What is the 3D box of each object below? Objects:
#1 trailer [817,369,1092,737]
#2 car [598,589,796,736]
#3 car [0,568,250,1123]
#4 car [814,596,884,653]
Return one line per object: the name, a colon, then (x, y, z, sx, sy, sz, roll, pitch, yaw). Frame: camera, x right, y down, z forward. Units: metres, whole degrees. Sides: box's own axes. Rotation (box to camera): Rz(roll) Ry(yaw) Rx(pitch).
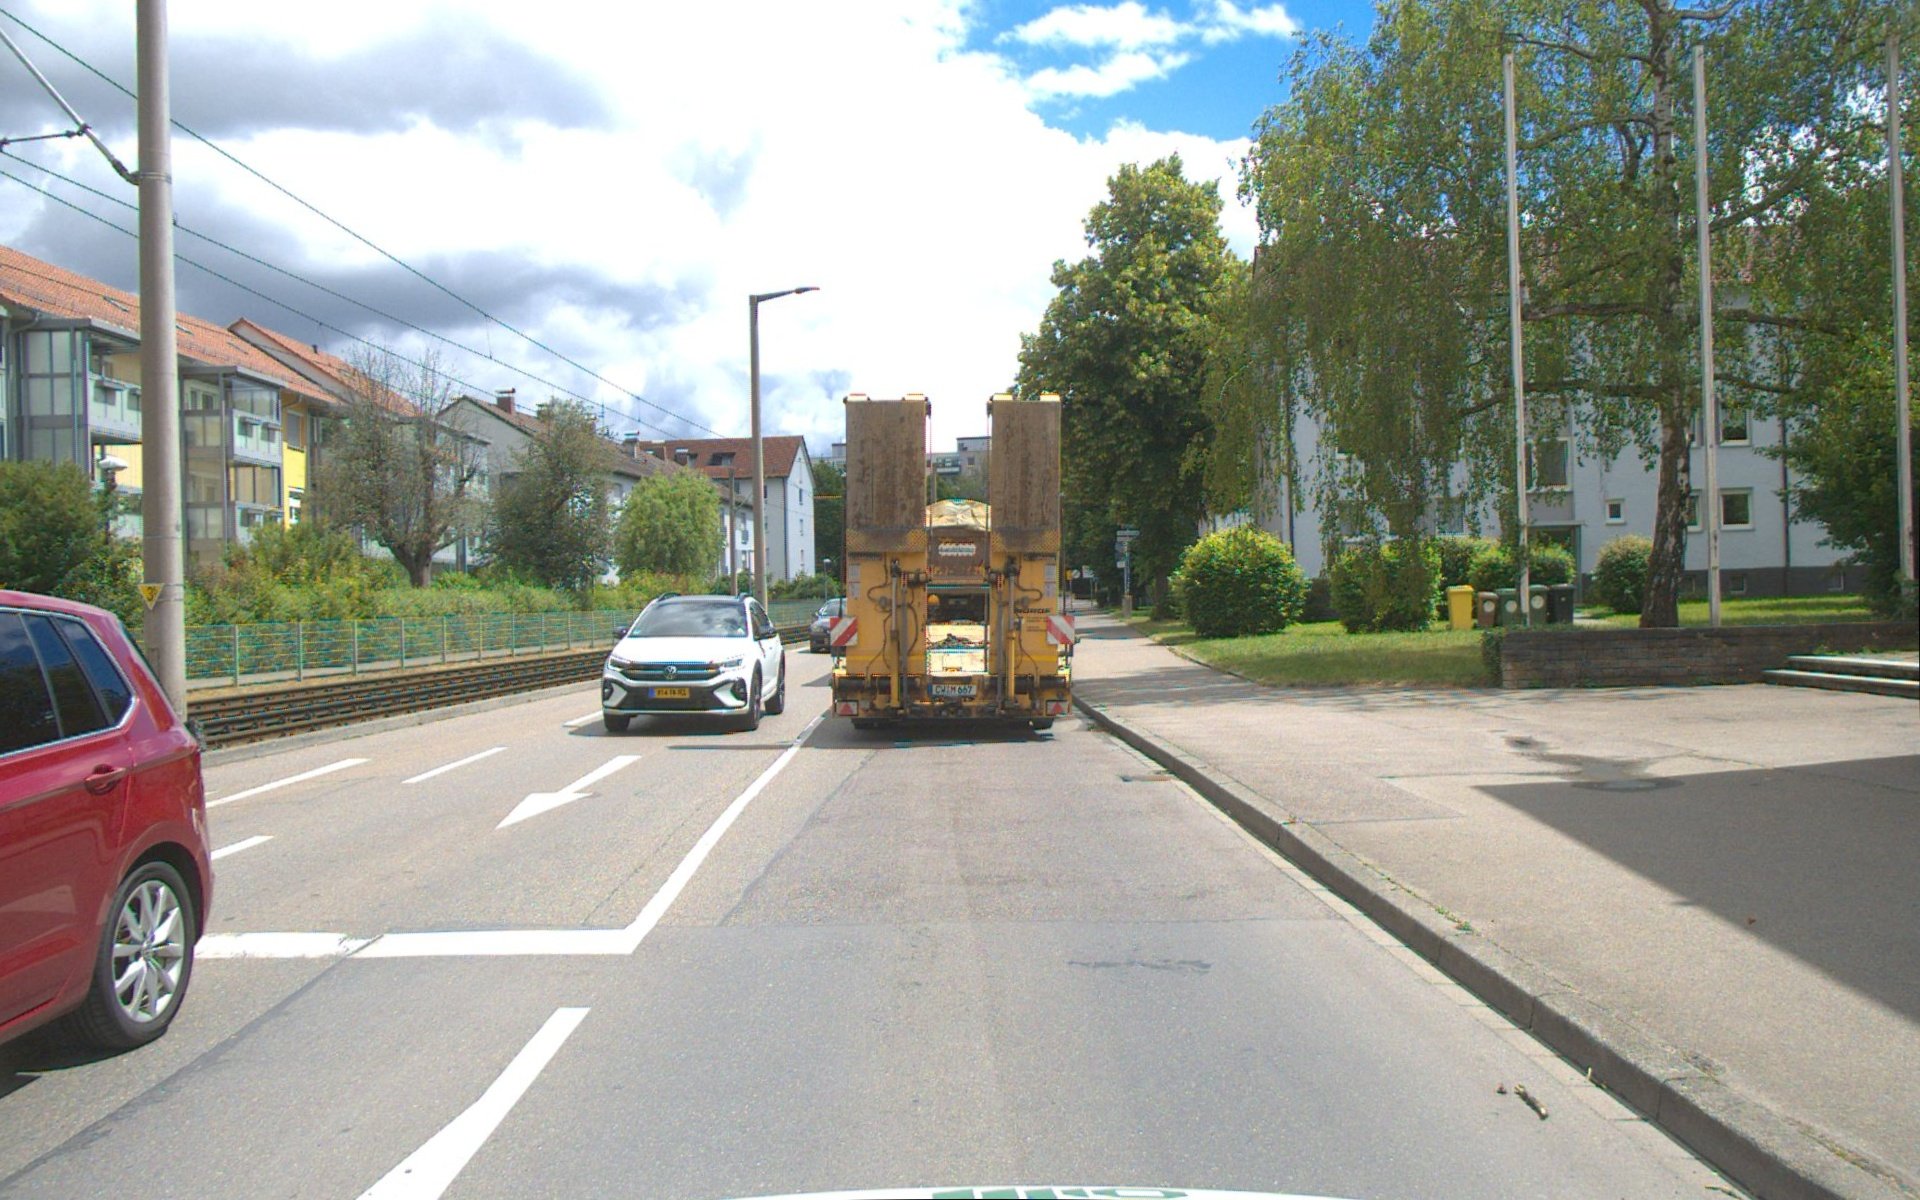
trailer: (-0.166, -0.480, 22.866, 2.770, 3.709, 12.351, 0, 0, -1)
car: (-3.041, 0.675, 19.883, 1.724, 1.579, 4.000, 0, 0, 0)
car: (-3.550, 0.696, 4.269, 1.629, 1.579, 4.001, 0, 0, 1)
car: (-2.968, 0.631, 44.856, 1.595, 1.457, 4.167, 0, 0, 0)
